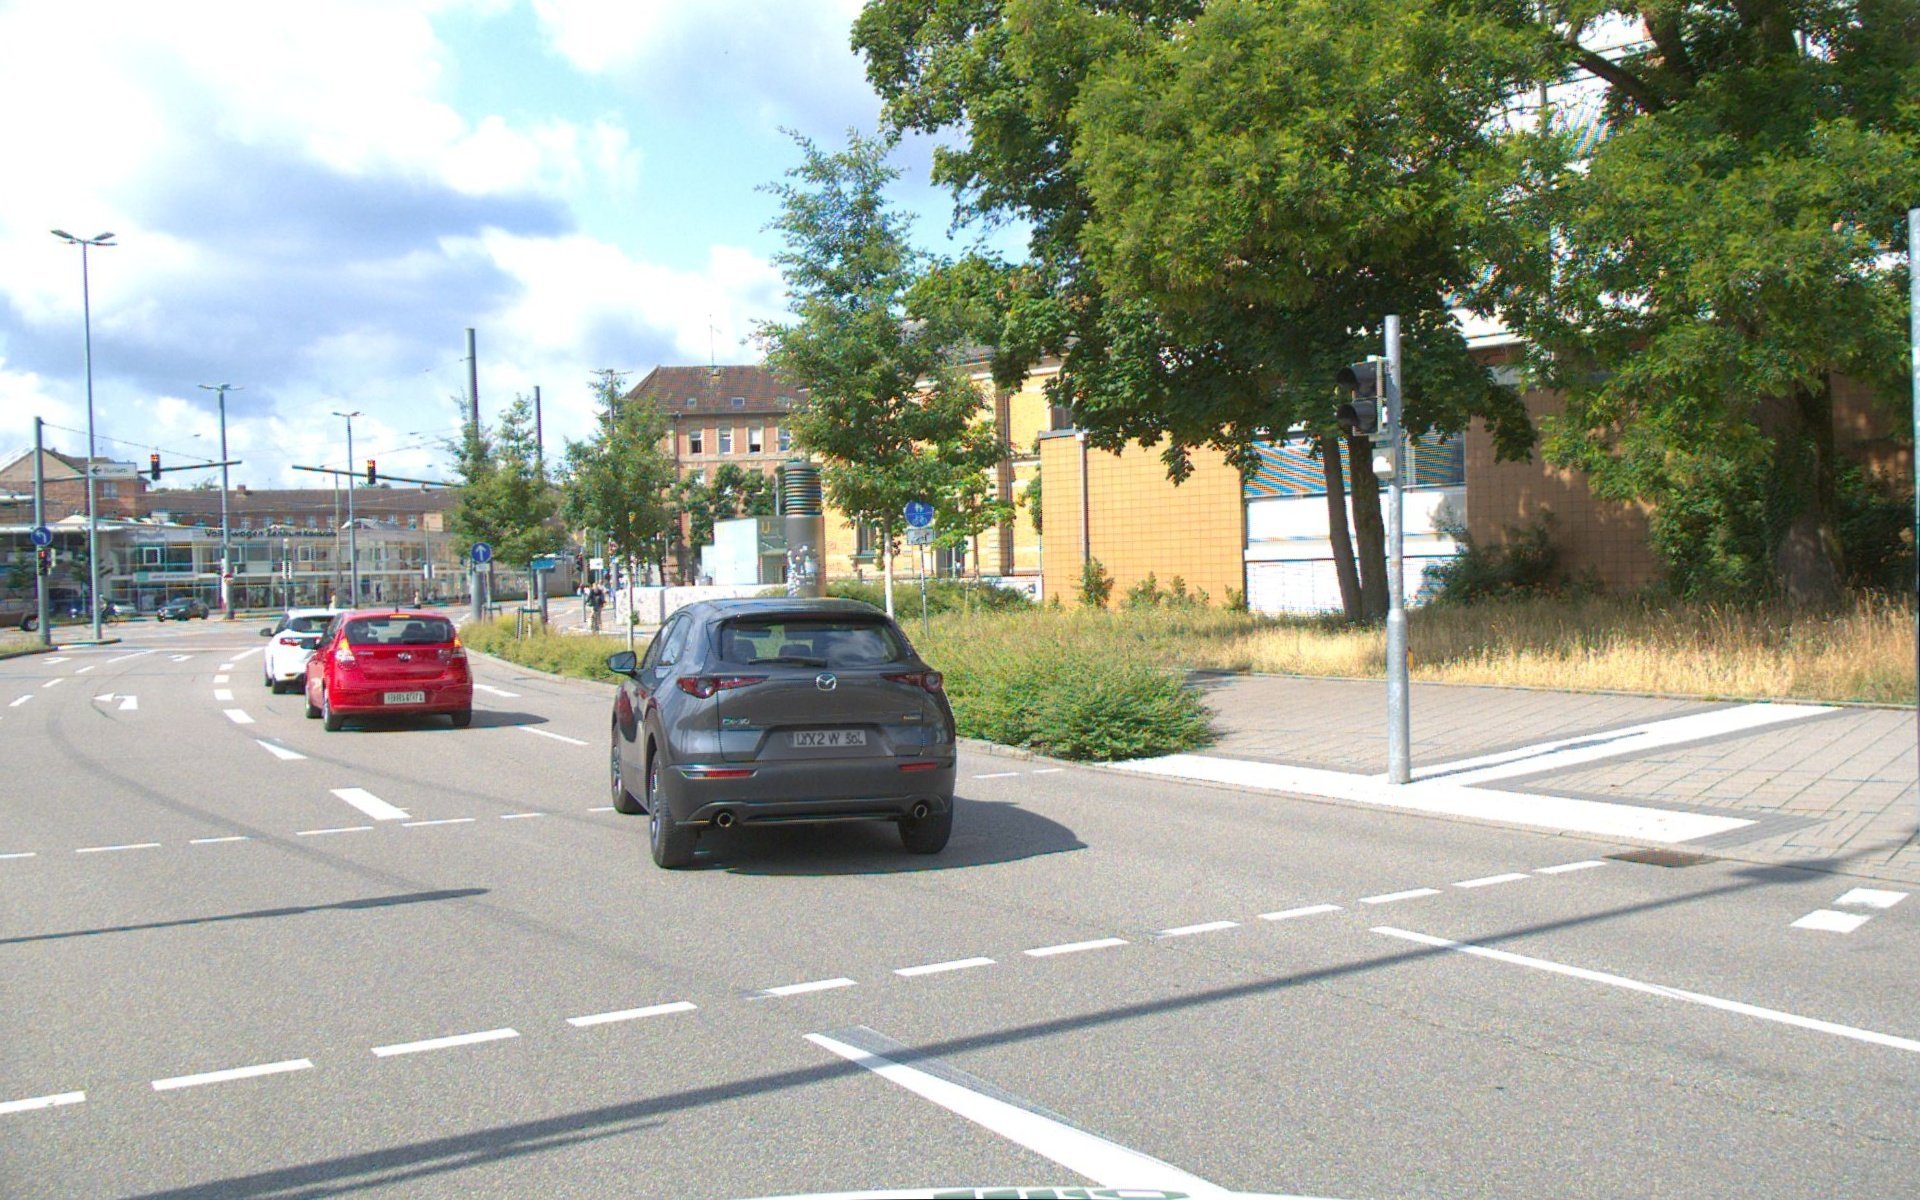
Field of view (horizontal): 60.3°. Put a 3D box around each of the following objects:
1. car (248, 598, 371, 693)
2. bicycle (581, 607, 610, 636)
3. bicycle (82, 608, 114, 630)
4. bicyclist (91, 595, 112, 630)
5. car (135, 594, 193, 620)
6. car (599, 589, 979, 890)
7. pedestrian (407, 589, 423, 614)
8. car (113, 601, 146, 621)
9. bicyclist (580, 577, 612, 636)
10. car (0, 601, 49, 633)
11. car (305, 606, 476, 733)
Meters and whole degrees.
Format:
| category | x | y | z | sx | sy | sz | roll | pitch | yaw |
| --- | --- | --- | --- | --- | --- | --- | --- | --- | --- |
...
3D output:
| category | x | y | z | sx | sy | sz | roll | pitch | yaw |
| --- | --- | --- | --- | --- | --- | --- | --- | --- | --- |
| car | -11.756 | 0.756 | 29.733 | 1.824 | 1.498 | 4.302 | -2 | 1 | -24 |
| bicycle | -11.192 | 0.659 | 50.748 | 0.615 | 0.825 | 1.779 | -3 | 1 | -19 |
| bicycle | -47.273 | 1.046 | 90.693 | 1.454 | 1.136 | 0.580 | -2 | 1 | -37 |
| bicyclist | -47.131 | 0.667 | 90.797 | 0.879 | 1.903 | 0.754 | -2 | 1 | -37 |
| car | -51.027 | 0.449 | 106.095 | 1.954 | 1.556 | 3.996 | -2 | 1 | -5 |
| car | -1.326 | 0.744 | 10.884 | 1.777 | 1.534 | 4.186 | -1 | 0 | -16 |
| pedestrian | -34.898 | 0.113 | 105.831 | 0.659 | 1.562 | 0.674 | -1 | 1 | 28 |
| car | -69.791 | 0.900 | 138.978 | 1.976 | 1.624 | 3.954 | -2 | 1 | -33 |
| bicyclist | -11.141 | 0.200 | 50.606 | 0.725 | 1.731 | 0.960 | -4 | 1 | -20 |
| car | -47.876 | 0.864 | 82.471 | 4.040 | 1.534 | 1.789 | -2 | 1 | -38 |
| car | -7.526 | 0.823 | 21.637 | 1.792 | 1.464 | 4.037 | 0 | 0 | -24 |
